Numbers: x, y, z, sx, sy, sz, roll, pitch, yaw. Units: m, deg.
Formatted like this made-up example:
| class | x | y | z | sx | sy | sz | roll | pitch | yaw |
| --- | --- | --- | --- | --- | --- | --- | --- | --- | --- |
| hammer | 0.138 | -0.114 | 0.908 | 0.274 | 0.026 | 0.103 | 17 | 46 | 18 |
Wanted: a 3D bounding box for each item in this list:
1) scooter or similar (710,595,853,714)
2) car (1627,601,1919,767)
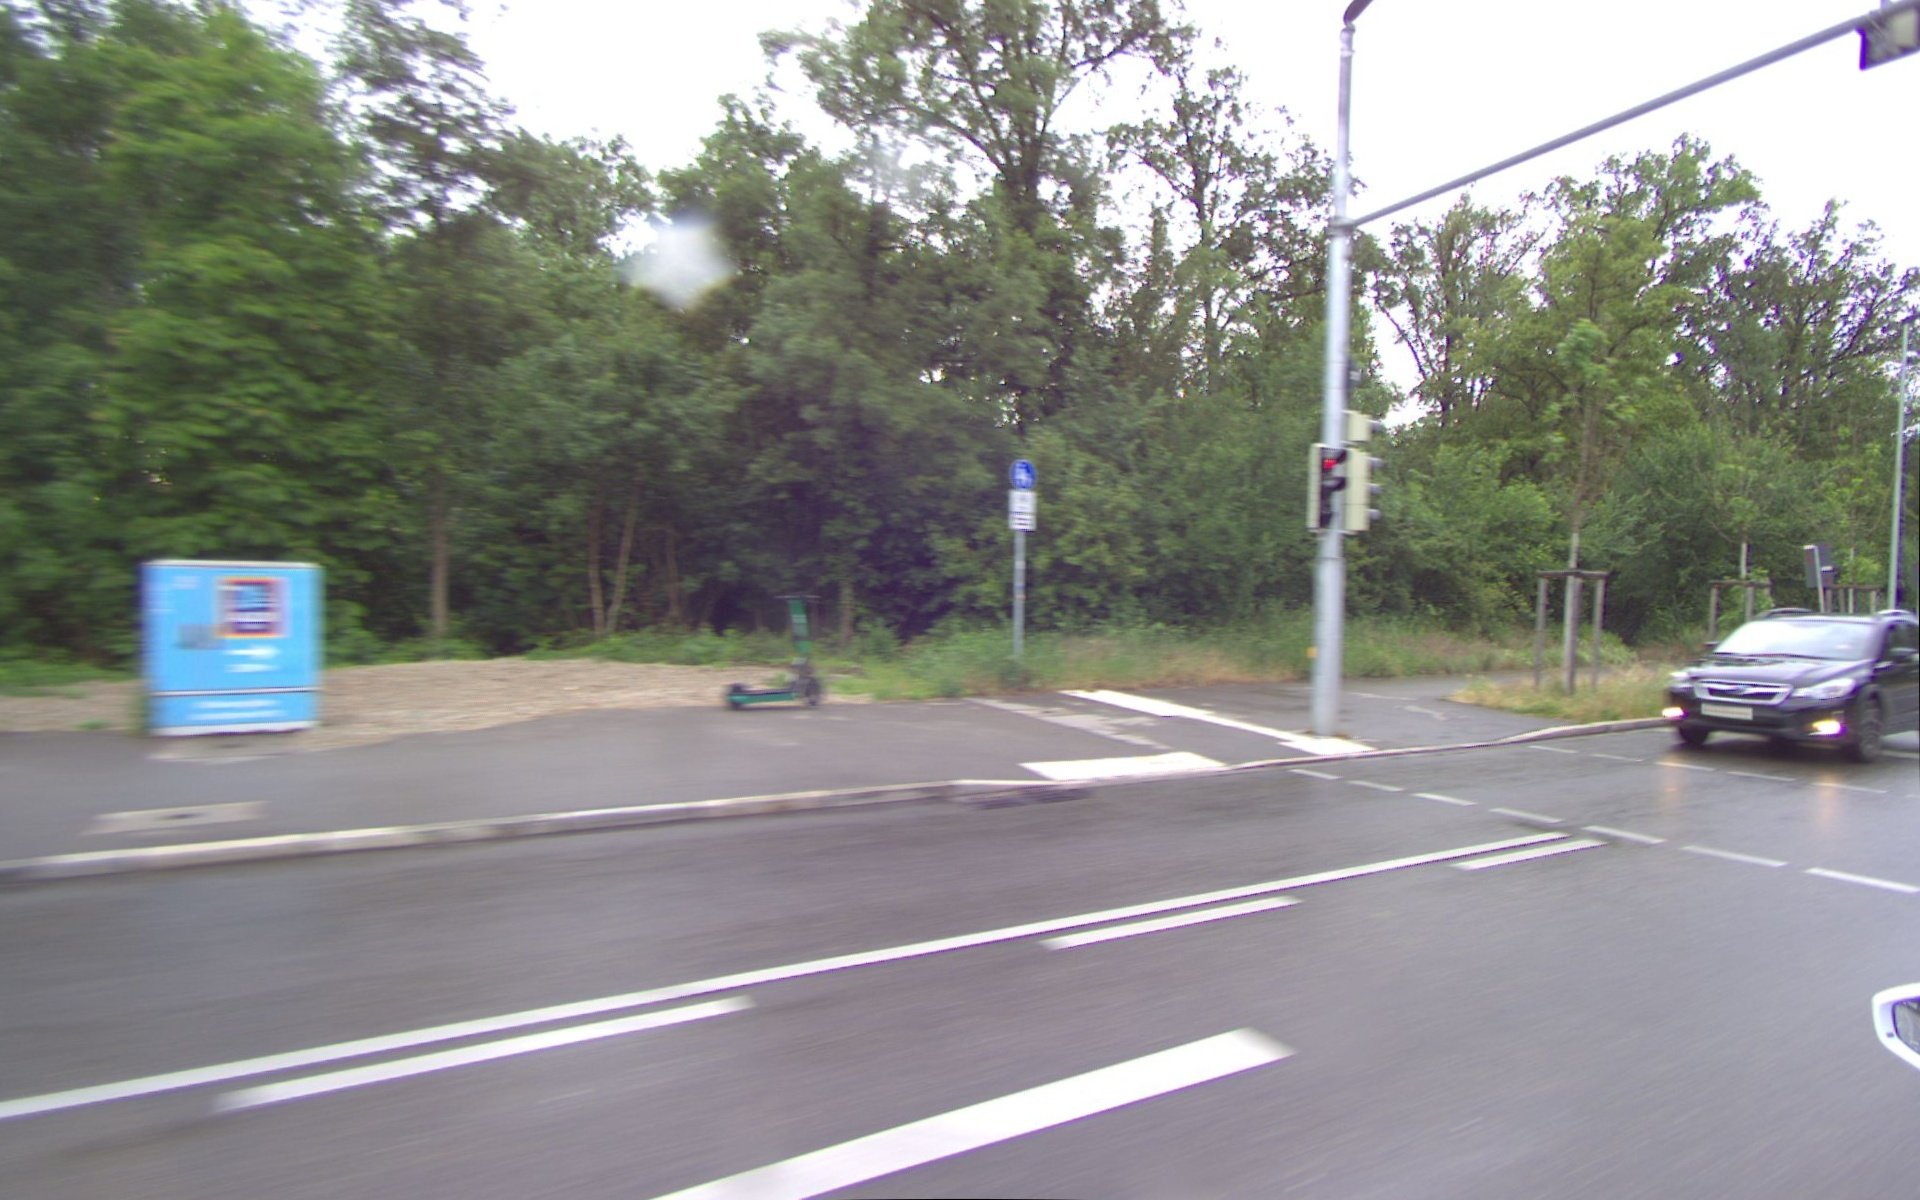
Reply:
| class | x | y | z | sx | sy | sz | roll | pitch | yaw |
| --- | --- | --- | --- | --- | --- | --- | --- | --- | --- |
| scooter or similar | -1.958 | 0.584 | 11.076 | 1.449 | 1.229 | 0.515 | 1 | 1 | -26 |
| car | 9.919 | 0.854 | 11.799 | 4.511 | 1.602 | 1.779 | 1 | 0 | -32 |
